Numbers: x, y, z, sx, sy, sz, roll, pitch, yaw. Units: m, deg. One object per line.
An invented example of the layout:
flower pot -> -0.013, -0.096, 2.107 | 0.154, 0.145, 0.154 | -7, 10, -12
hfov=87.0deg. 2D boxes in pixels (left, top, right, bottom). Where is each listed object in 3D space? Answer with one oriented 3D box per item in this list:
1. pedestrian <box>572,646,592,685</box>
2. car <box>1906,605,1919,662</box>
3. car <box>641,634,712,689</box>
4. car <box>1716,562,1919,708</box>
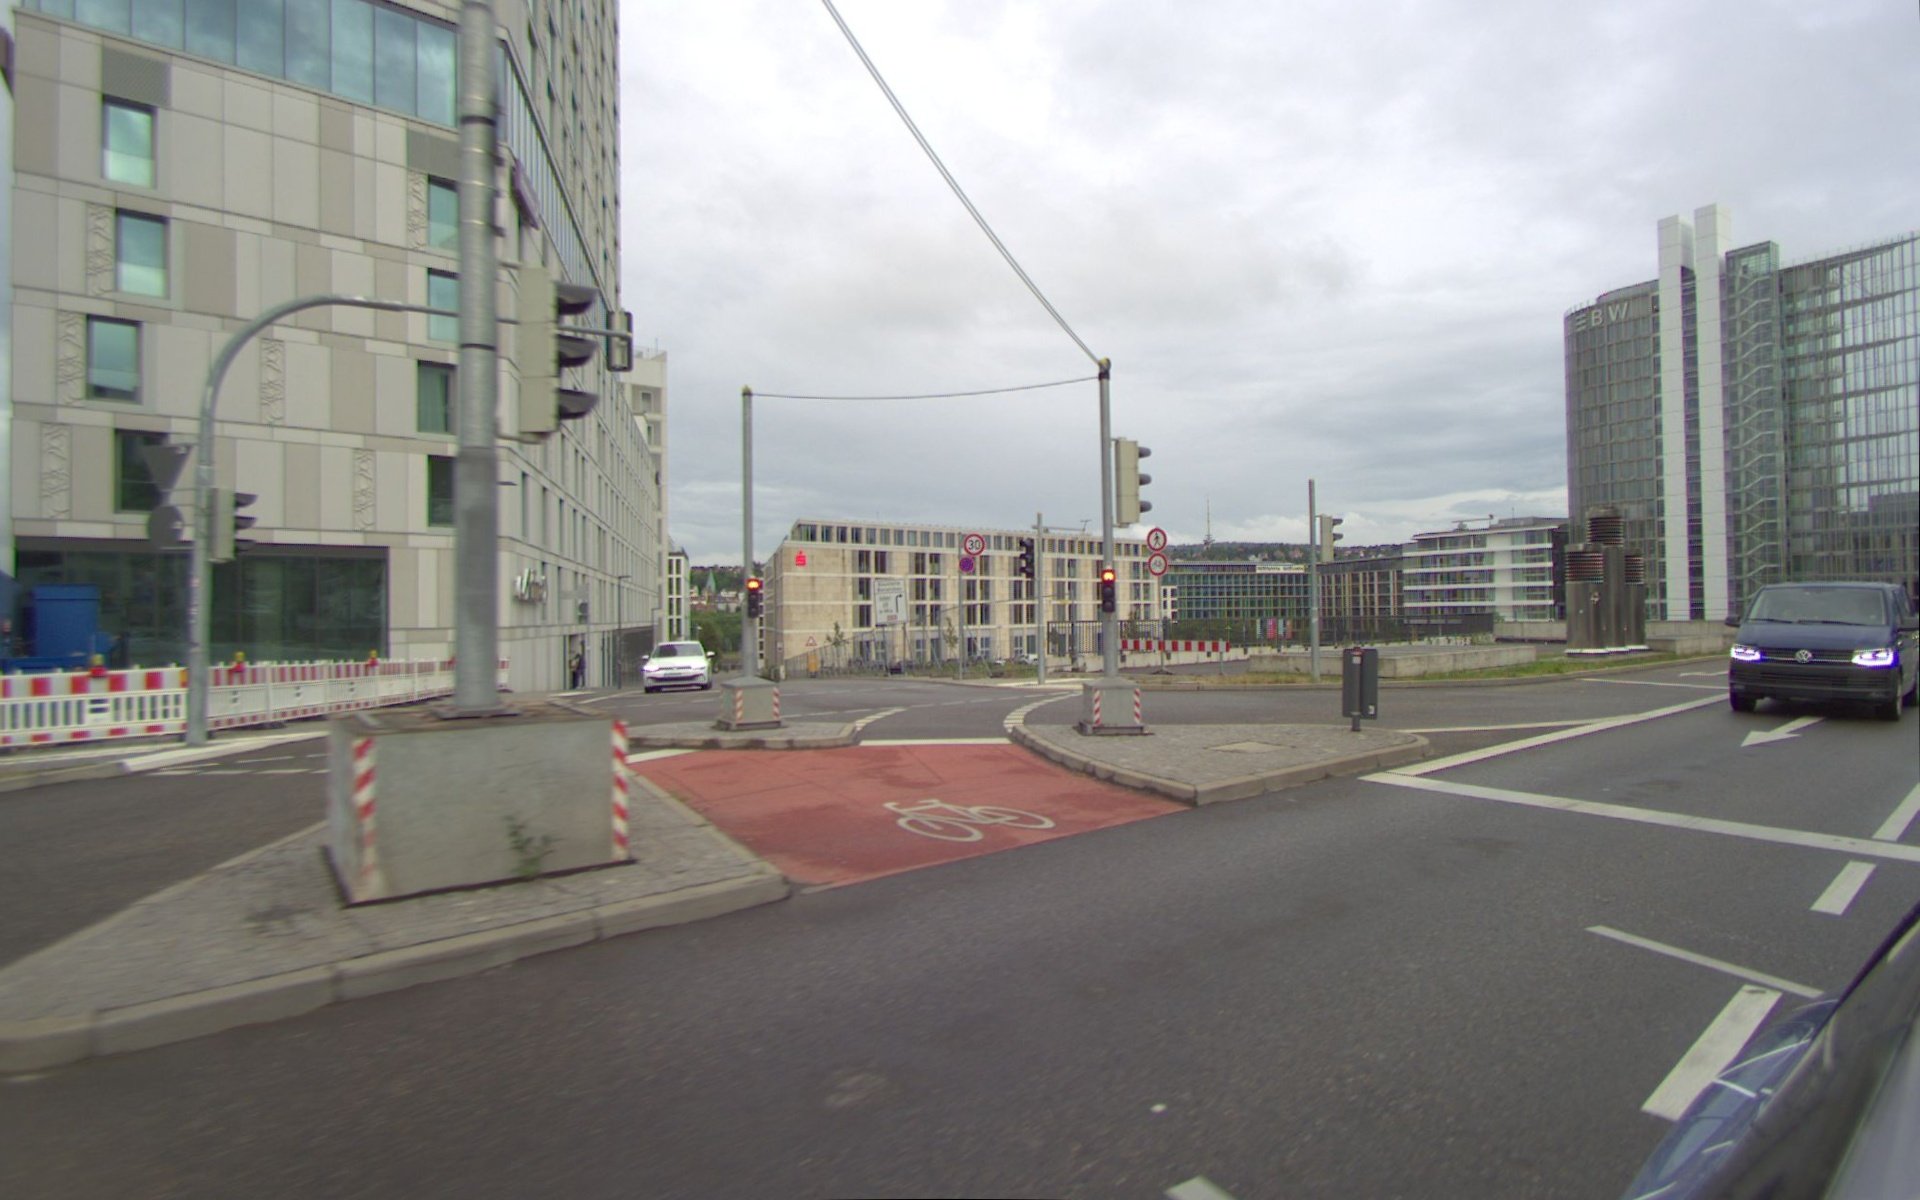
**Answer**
pedestrian -> -17.300, 2.978, 46.298 | 0.783, 1.723, 0.801 | -1, 0, -25
car -> 25.631, 0.853, 25.860 | 4.082, 1.394, 1.726 | 1, -1, -41
car -> -8.088, 1.725, 29.128 | 1.707, 1.452, 4.006 | -1, -2, -12
car -> 13.619, 0.502, 15.638 | 4.952, 1.906, 2.036 | 1, -2, -40
